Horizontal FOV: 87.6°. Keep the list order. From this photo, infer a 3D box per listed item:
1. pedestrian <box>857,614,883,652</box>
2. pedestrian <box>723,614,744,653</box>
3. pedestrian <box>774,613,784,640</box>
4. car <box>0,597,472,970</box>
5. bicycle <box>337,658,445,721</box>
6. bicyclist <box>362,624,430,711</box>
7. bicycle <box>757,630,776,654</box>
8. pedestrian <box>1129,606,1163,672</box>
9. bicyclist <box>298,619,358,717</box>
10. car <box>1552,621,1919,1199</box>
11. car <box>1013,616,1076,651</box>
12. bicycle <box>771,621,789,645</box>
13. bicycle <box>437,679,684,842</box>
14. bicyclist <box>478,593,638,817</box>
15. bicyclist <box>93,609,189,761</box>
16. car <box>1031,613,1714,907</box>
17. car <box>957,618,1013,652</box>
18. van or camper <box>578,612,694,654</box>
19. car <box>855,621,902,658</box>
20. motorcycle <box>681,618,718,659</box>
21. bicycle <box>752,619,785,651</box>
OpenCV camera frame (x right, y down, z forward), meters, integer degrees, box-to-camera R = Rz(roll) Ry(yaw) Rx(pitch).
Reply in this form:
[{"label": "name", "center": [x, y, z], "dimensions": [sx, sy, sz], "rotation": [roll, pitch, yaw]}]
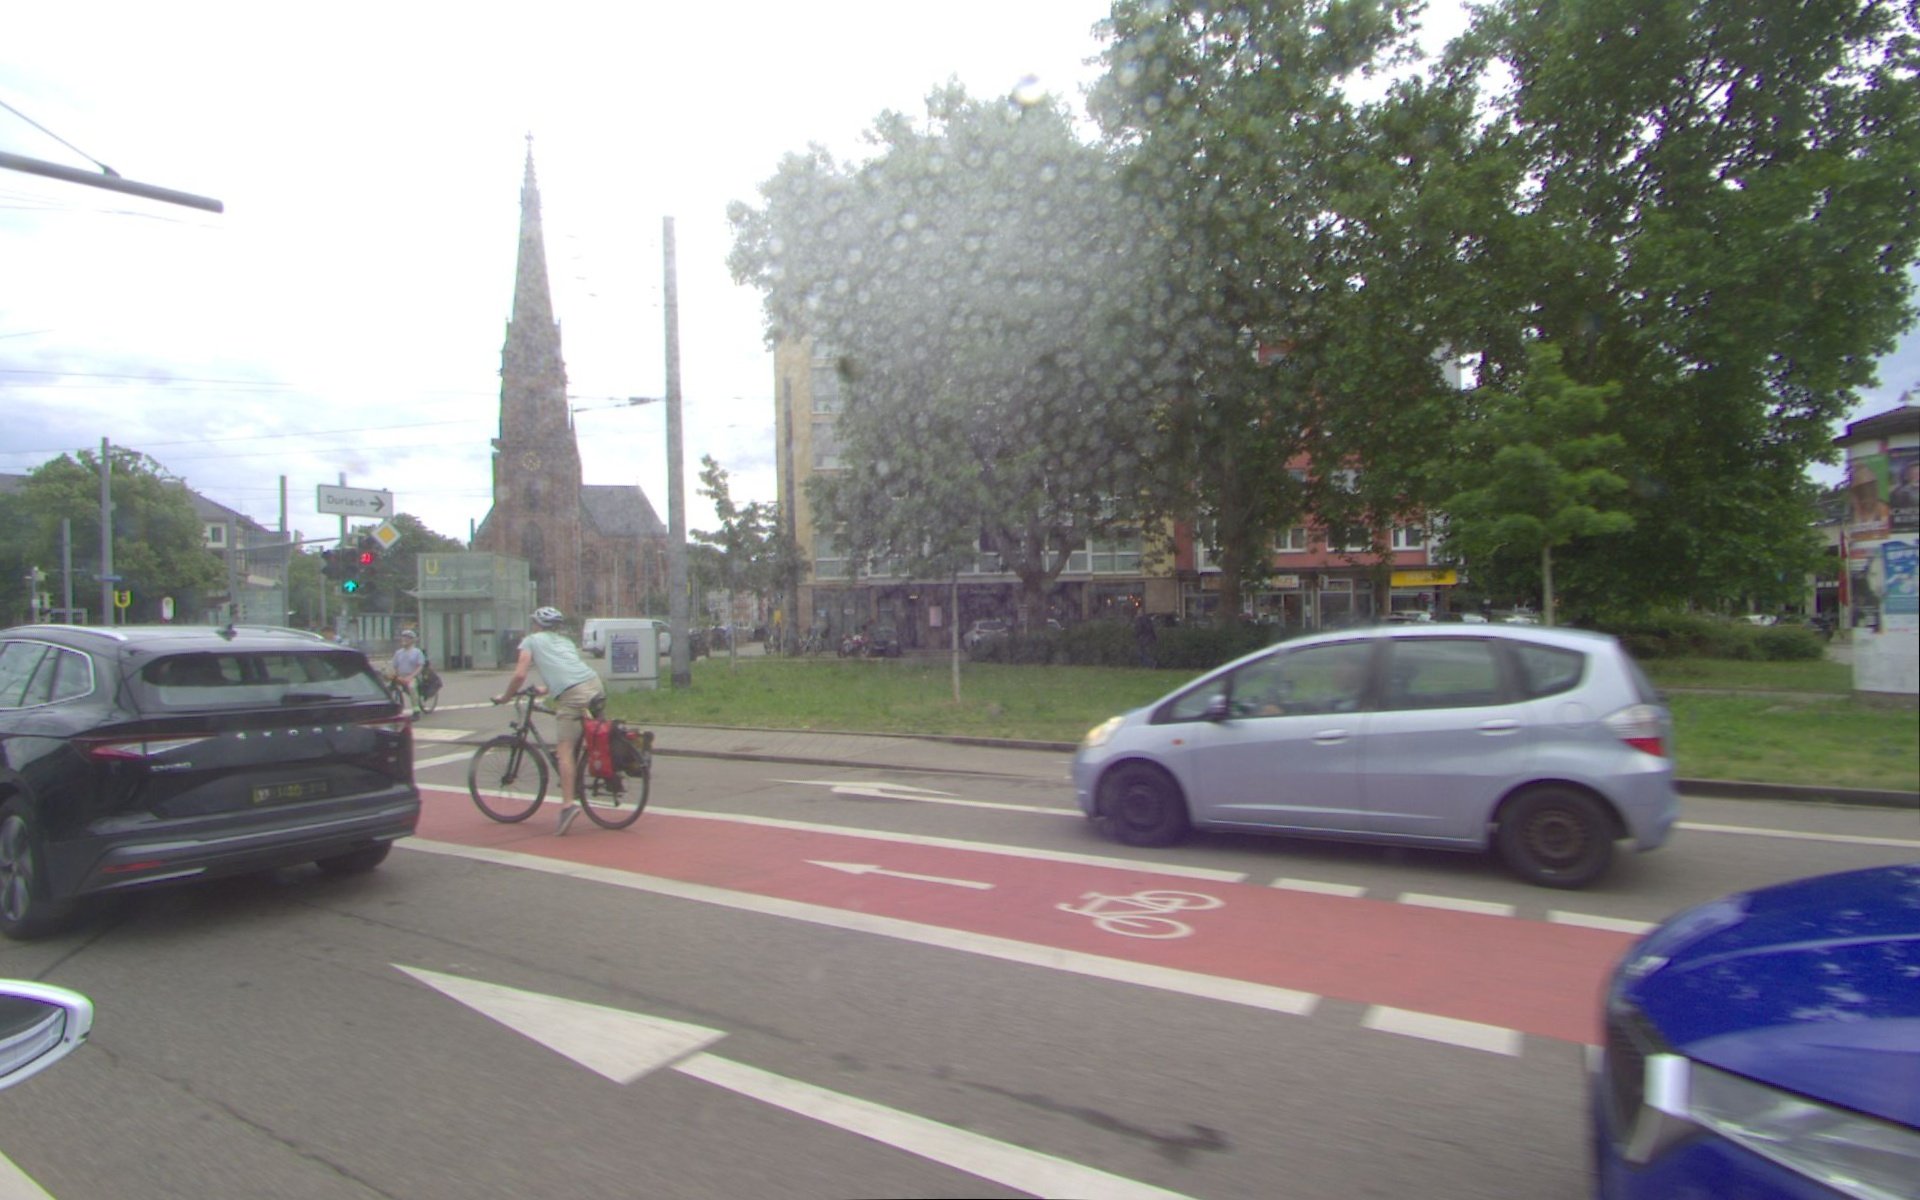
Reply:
[{"label": "pedestrian", "center": [-4.371, 1.589, 48.394], "dimensions": [1.032, 1.780, 0.786], "rotation": [-1, 1, -22]}, {"label": "pedestrian", "center": [-10.357, 1.540, 45.802], "dimensions": [0.797, 1.760, 0.906], "rotation": [-1, 0, -2]}, {"label": "pedestrian", "center": [-11.887, 1.717, 65.806], "dimensions": [0.606, 1.738, 0.823], "rotation": [-1, 1, -11]}, {"label": "car", "center": [-5.399, 0.883, 6.476], "dimensions": [4.448, 1.680, 1.900], "rotation": [-1, -1, 31]}, {"label": "bicycle", "center": [-10.392, 1.608, 18.375], "dimensions": [0.590, 1.011, 1.945], "rotation": [-1, -1, 11]}, {"label": "bicyclist", "center": [-10.386, 1.228, 18.456], "dimensions": [0.659, 1.541, 0.886], "rotation": [-1, 0, 12]}, {"label": "bicycle", "center": [-10.056, 2.181, 52.137], "dimensions": [0.657, 1.184, 2.040], "rotation": [-1, 0, -3]}, {"label": "pedestrian", "center": [5.314, 1.103, 28.615], "dimensions": [0.881, 1.843, 0.866], "rotation": [-1, 1, 8]}, {"label": "bicyclist", "center": [-11.835, 1.260, 18.778], "dimensions": [0.574, 1.775, 0.734], "rotation": [-1, 1, 5]}, {"label": "car", "center": [3.297, 0.723, 0.930], "dimensions": [4.689, 1.454, 1.762], "rotation": [-2, -2, 32]}, {"label": "car", "center": [3.824, 1.512, 45.962], "dimensions": [1.962, 1.461, 3.997], "rotation": [-1, 0, -9]}, {"label": "bicycle", "center": [-9.379, 1.684, 52.134], "dimensions": [0.657, 1.184, 2.040], "rotation": [-1, 0, -3]}, {"label": "bicycle", "center": [-3.191, 1.205, 7.947], "dimensions": [1.986, 1.092, 0.760], "rotation": [-2, -2, 30]}, {"label": "bicyclist", "center": [-3.173, 0.794, 7.930], "dimensions": [0.919, 1.638, 0.788], "rotation": [-1, -2, 30]}, {"label": "bicyclist", "center": [-9.592, 0.966, 11.728], "dimensions": [0.794, 1.712, 0.614], "rotation": [0, 0, 30]}, {"label": "car", "center": [2.595, 0.890, 6.852], "dimensions": [3.875, 1.502, 1.703], "rotation": [-2, -2, 30]}, {"label": "car", "center": [1.071, 1.563, 45.615], "dimensions": [1.962, 1.483, 3.999], "rotation": [-1, -1, -7]}, {"label": "van or camper", "center": [-16.975, 1.700, 52.597], "dimensions": [5.404, 2.004, 2.155], "rotation": [-1, -1, -40]}, {"label": "car", "center": [-3.588, 1.719, 44.615], "dimensions": [1.806, 1.462, 4.166], "rotation": [-1, 0, -1]}, {"label": "motorcycle", "center": [-9.538, 1.386, 36.739], "dimensions": [1.027, 1.384, 2.291], "rotation": [-1, 0, -9]}, {"label": "bicycle", "center": [-8.845, 1.616, 46.348], "dimensions": [0.886, 1.395, 2.784], "rotation": [-1, -1, 2]}]
